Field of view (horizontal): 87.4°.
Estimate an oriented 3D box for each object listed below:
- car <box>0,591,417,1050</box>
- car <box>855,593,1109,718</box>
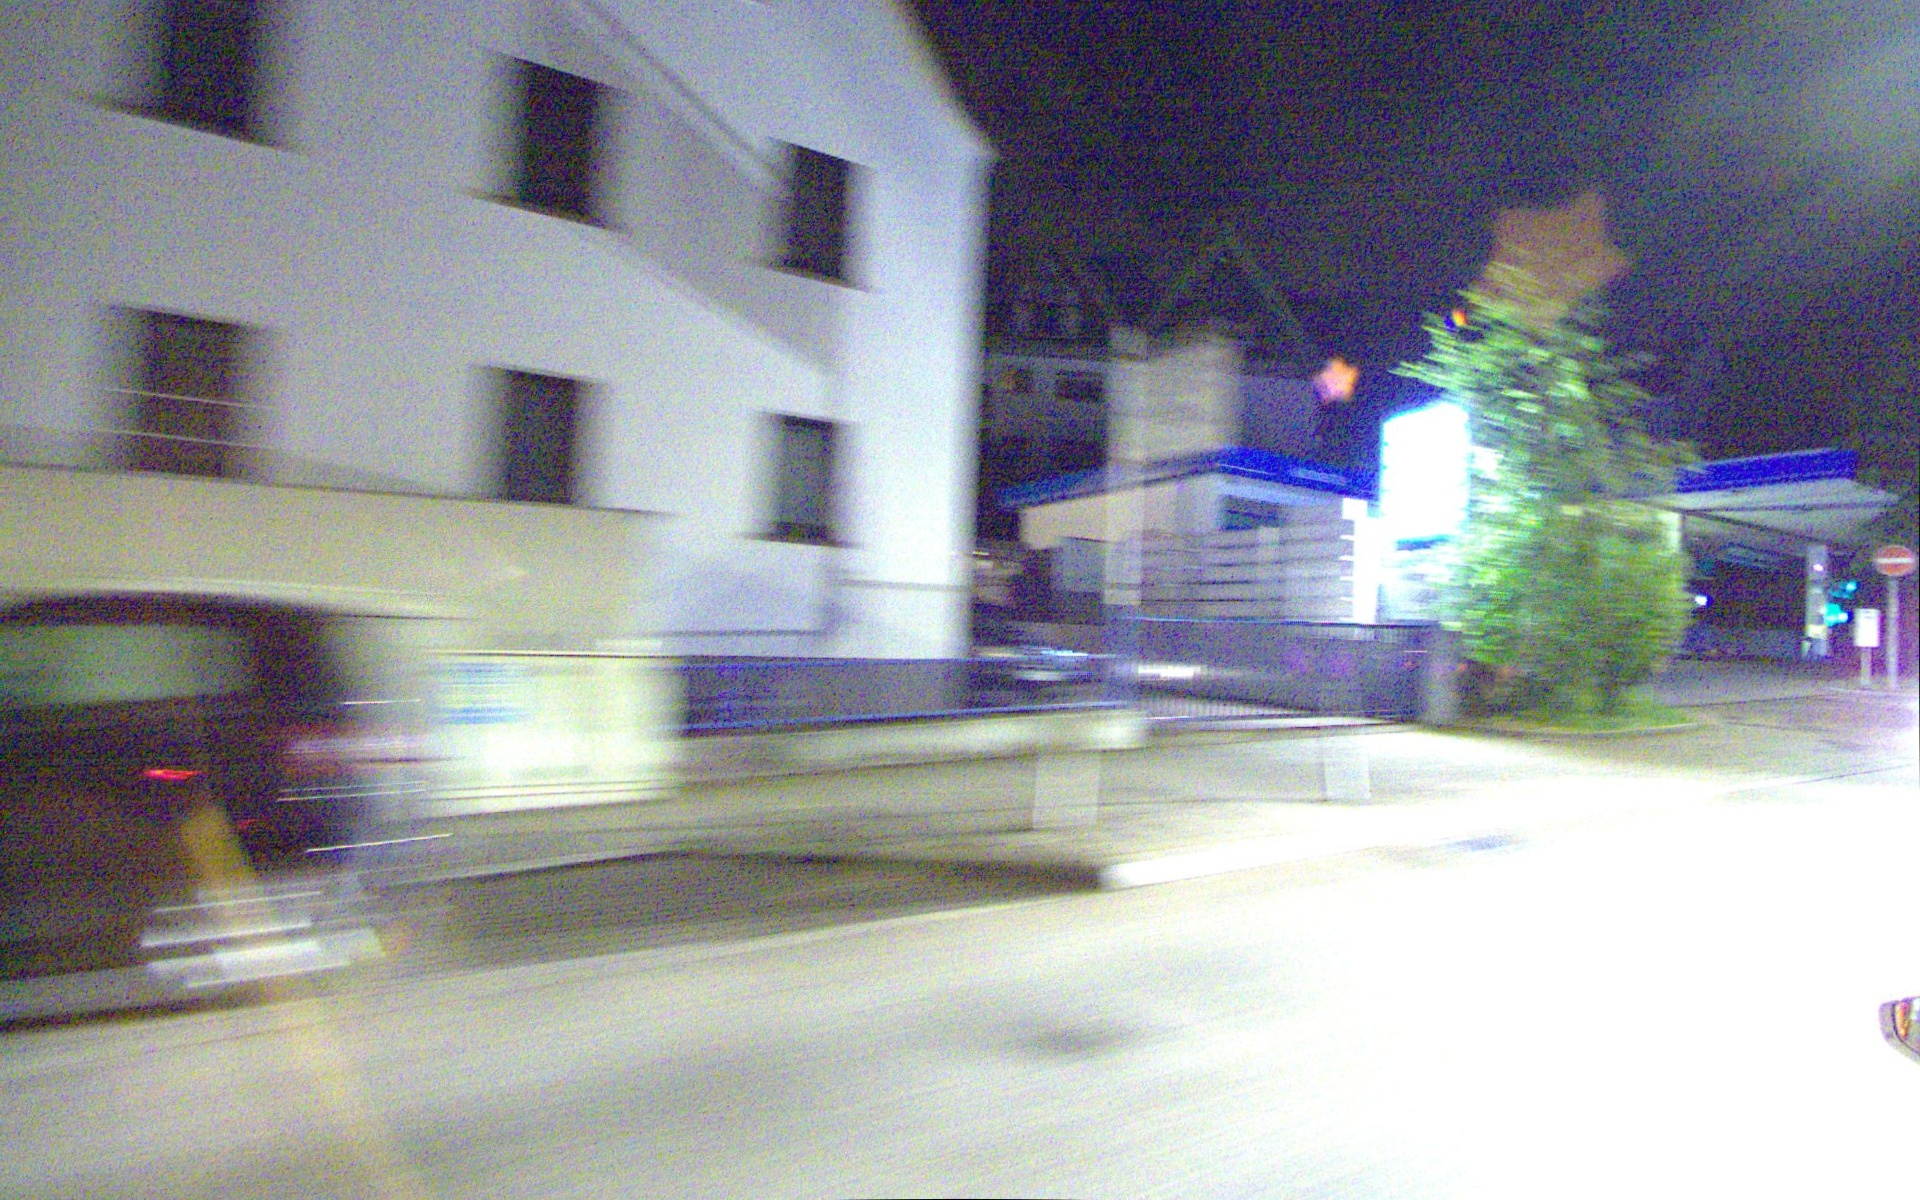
[{"bbox_3d":[-3.724,0.728,3.951,2.731,1.517,1.632,2,-1,-29],"label":"car"},{"bbox_3d":[0.140,0.716,14.608,1.850,1.525,4.209,3,-1,-28],"label":"car"}]
